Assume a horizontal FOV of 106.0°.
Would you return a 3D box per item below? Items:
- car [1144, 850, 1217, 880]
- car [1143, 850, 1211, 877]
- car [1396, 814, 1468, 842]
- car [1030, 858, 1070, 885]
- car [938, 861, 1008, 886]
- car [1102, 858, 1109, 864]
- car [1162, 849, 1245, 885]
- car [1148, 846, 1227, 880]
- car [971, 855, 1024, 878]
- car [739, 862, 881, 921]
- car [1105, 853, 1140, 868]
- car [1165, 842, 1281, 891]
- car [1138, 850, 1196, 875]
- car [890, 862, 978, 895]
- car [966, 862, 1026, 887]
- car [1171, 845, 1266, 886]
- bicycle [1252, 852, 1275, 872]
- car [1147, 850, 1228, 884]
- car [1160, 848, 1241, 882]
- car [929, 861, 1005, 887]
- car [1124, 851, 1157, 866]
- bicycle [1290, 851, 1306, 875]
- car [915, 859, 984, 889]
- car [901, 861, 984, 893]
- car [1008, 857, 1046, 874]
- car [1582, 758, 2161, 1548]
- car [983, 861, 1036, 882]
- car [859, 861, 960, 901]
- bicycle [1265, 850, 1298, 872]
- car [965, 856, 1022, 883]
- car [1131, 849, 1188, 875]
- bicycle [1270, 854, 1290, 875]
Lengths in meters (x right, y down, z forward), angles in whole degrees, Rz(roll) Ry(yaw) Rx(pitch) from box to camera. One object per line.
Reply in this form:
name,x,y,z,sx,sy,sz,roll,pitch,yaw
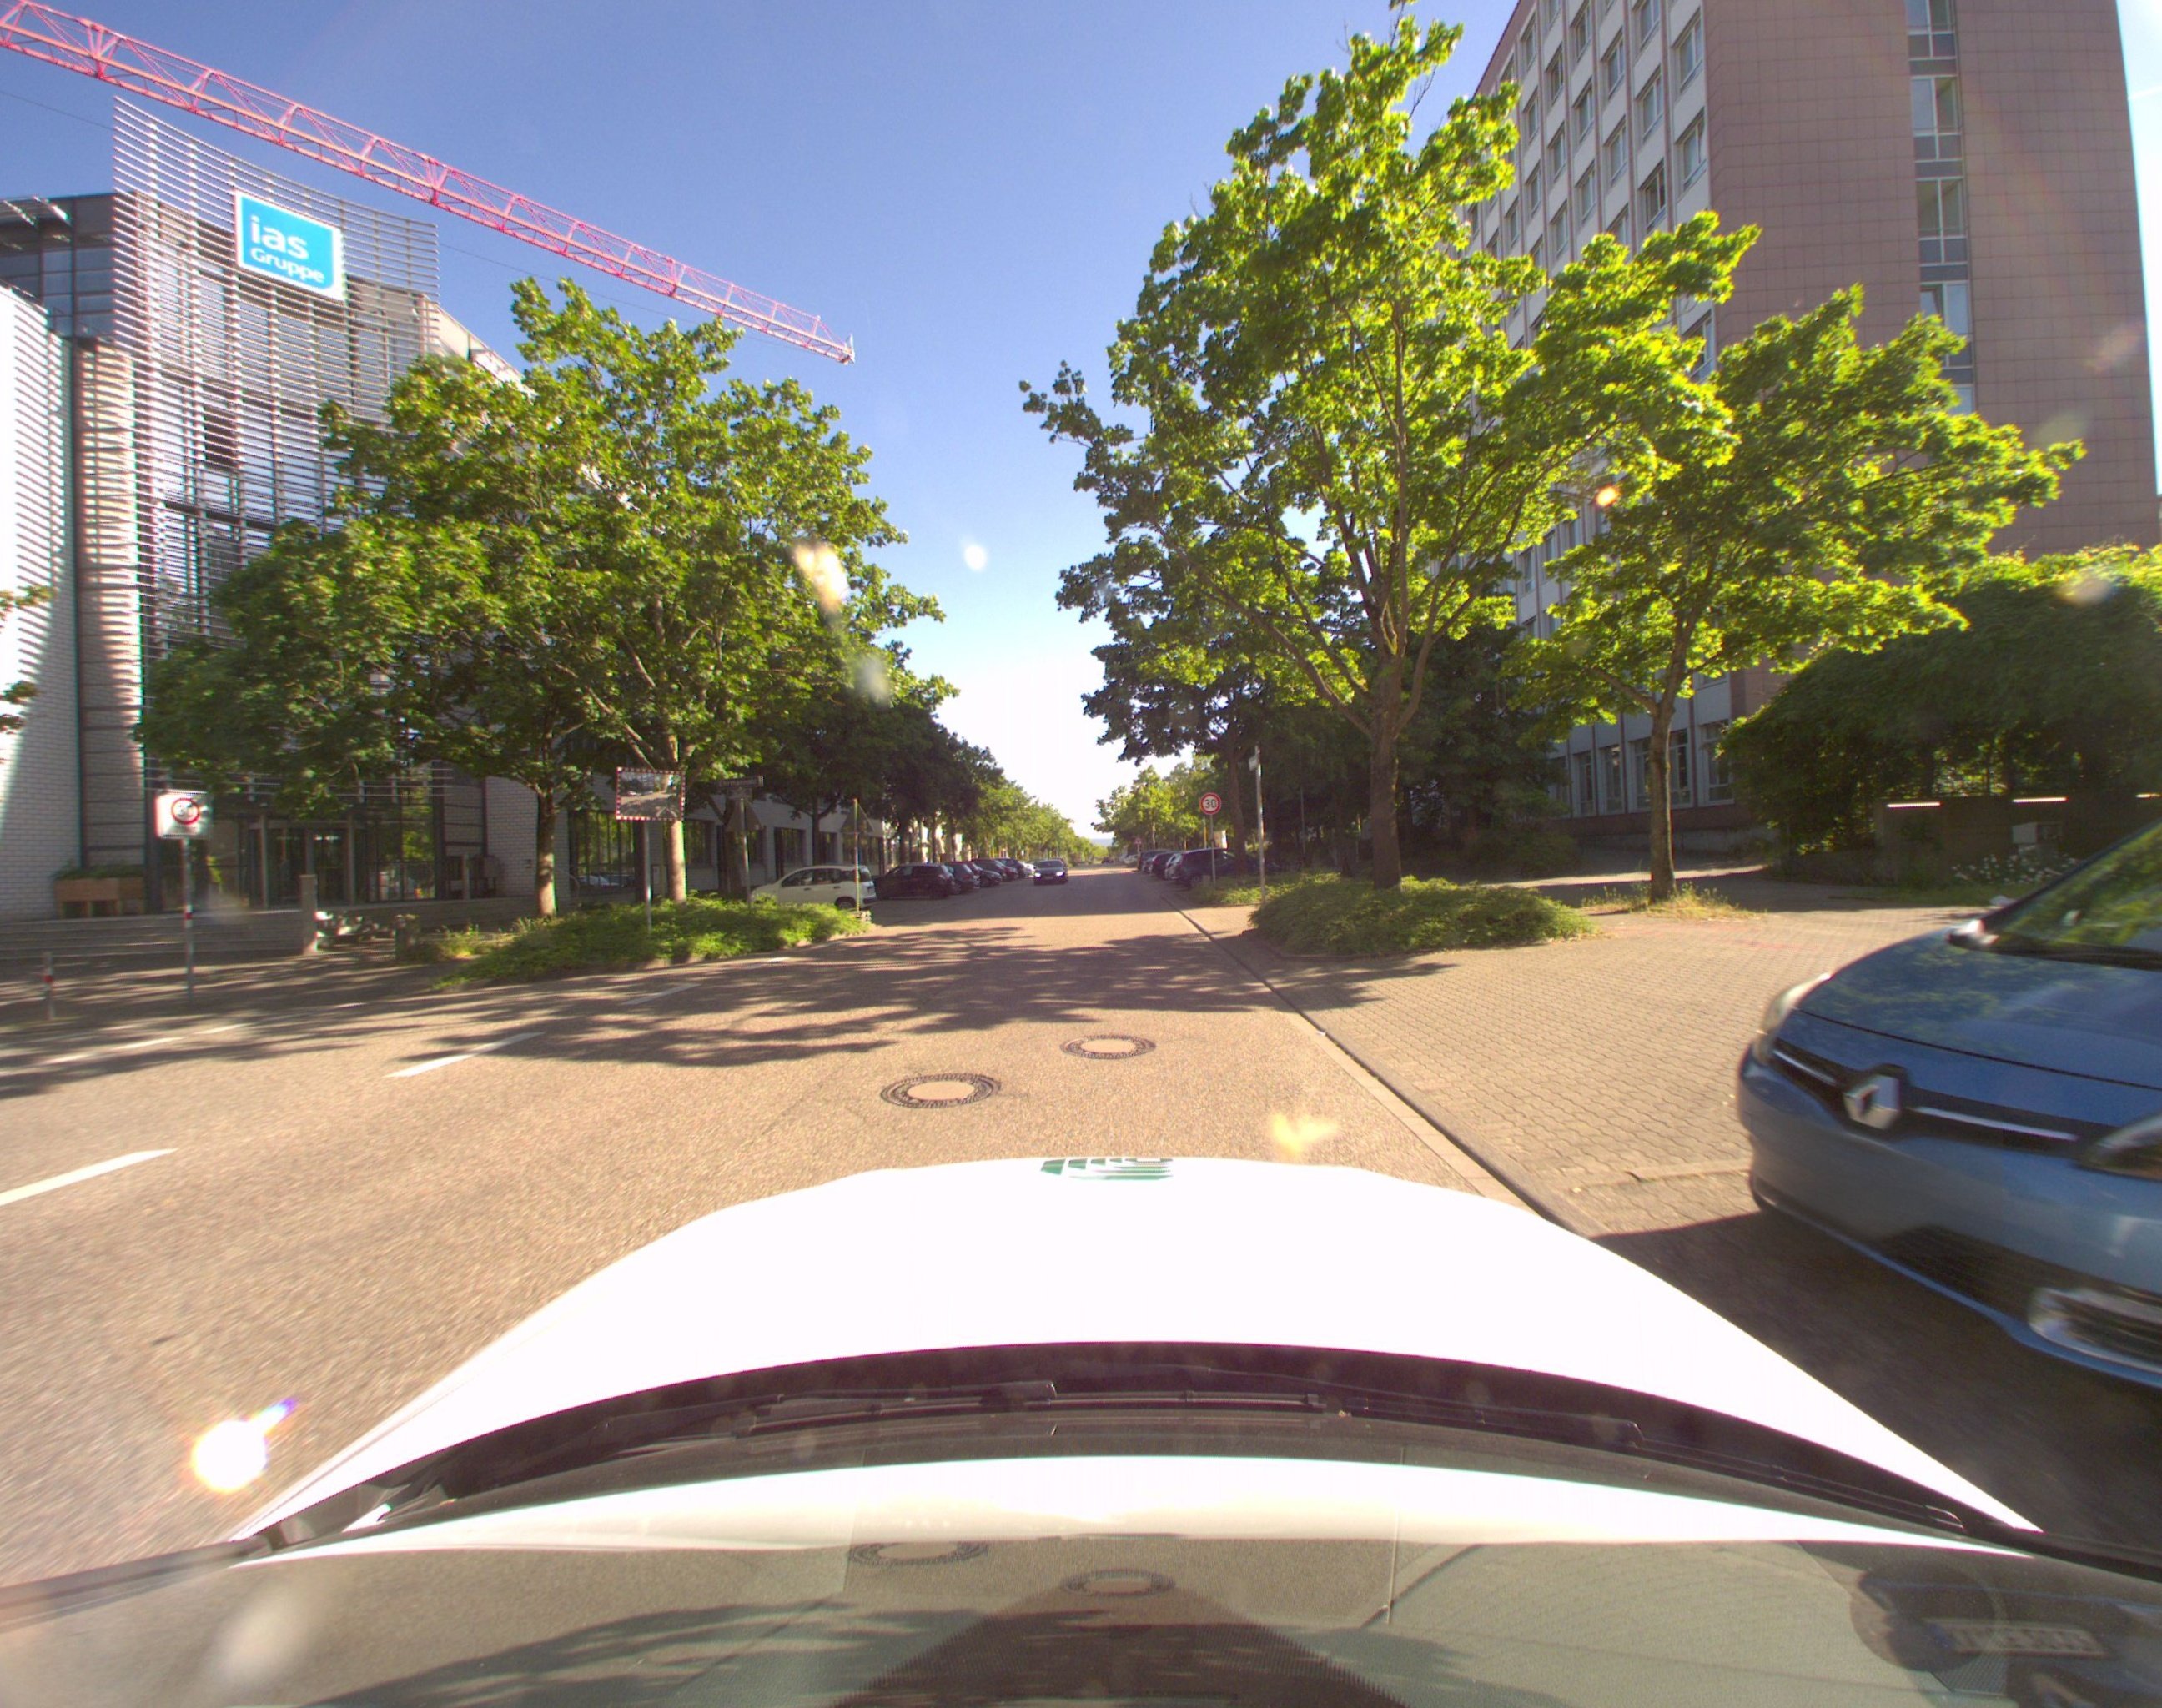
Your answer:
car,5.945,0.654,48.939,4.038,1.591,1.547,-2,0,-6
car,6.082,0.605,51.960,4.033,1.491,1.549,-4,-1,-2
car,23.898,-1.733,55.590,4.062,1.783,1.998,-1,-1,-3
car,-1.763,1.012,47.793,1.804,1.415,4.113,-2,0,5
car,-6.367,1.125,48.293,3.980,1.406,1.603,-1,-1,-5
car,7.074,2.061,232.490,1.926,1.597,4.367,-3,0,1
car,5.769,0.614,38.551,3.625,1.467,1.632,-4,-1,-1
car,5.962,0.487,45.707,4.227,1.554,1.923,-5,-1,6
car,-6.865,1.001,67.356,3.969,1.654,1.862,-3,0,4
car,-7.843,1.092,23.794,3.569,1.549,1.636,-2,-3,-1
car,5.012,0.765,97.882,3.978,1.624,1.998,-2,0,-4
car,5.604,0.492,32.524,4.255,1.633,1.857,-3,0,-1
car,6.313,0.610,60.198,4.033,1.582,1.640,-4,-1,-2
car,-6.815,1.111,37.962,3.747,1.445,1.632,-1,-1,2
car,-6.149,1.476,59.269,3.969,1.587,1.767,-3,-2,4
car,6.056,0.496,36.177,3.868,1.526,1.896,-3,2,1
bicycle,10.319,0.470,46.112,0.380,1.078,1.776,-2,0,-19
car,5.332,0.637,41.004,3.742,1.449,1.879,-4,-1,-2
car,6.100,0.568,42.009,3.852,1.468,1.967,-3,0,1
car,-6.352,1.108,45.738,3.974,1.412,1.665,-1,-1,0
car,7.575,0.565,104.313,3.978,1.792,1.998,-2,0,-4
bicycle,9.797,0.402,36.776,0.377,1.047,1.888,-4,0,7
car,-6.954,1.051,43.169,3.411,1.463,1.694,-1,0,-4
car,-6.881,1.120,40.736,3.855,1.457,1.754,-1,1,-2
car,-5.960,1.222,90.119,3.969,1.654,1.862,-3,0,4
car,4.359,0.426,2.483,4.390,1.618,1.912,-5,0,1
car,-5.497,1.317,62.843,3.879,1.464,1.858,-2,0,0
car,-6.995,1.090,33.406,3.720,1.464,1.677,-2,0,0
bicycle,10.335,0.392,42.055,0.382,1.078,1.766,-2,-1,-40
car,-5.933,1.041,55.622,3.526,1.657,1.763,-2,-1,3
car,5.800,0.588,60.357,3.885,1.656,1.856,-3,0,-4
bicycle,10.594,0.570,43.398,0.379,1.078,1.781,-2,0,-9
